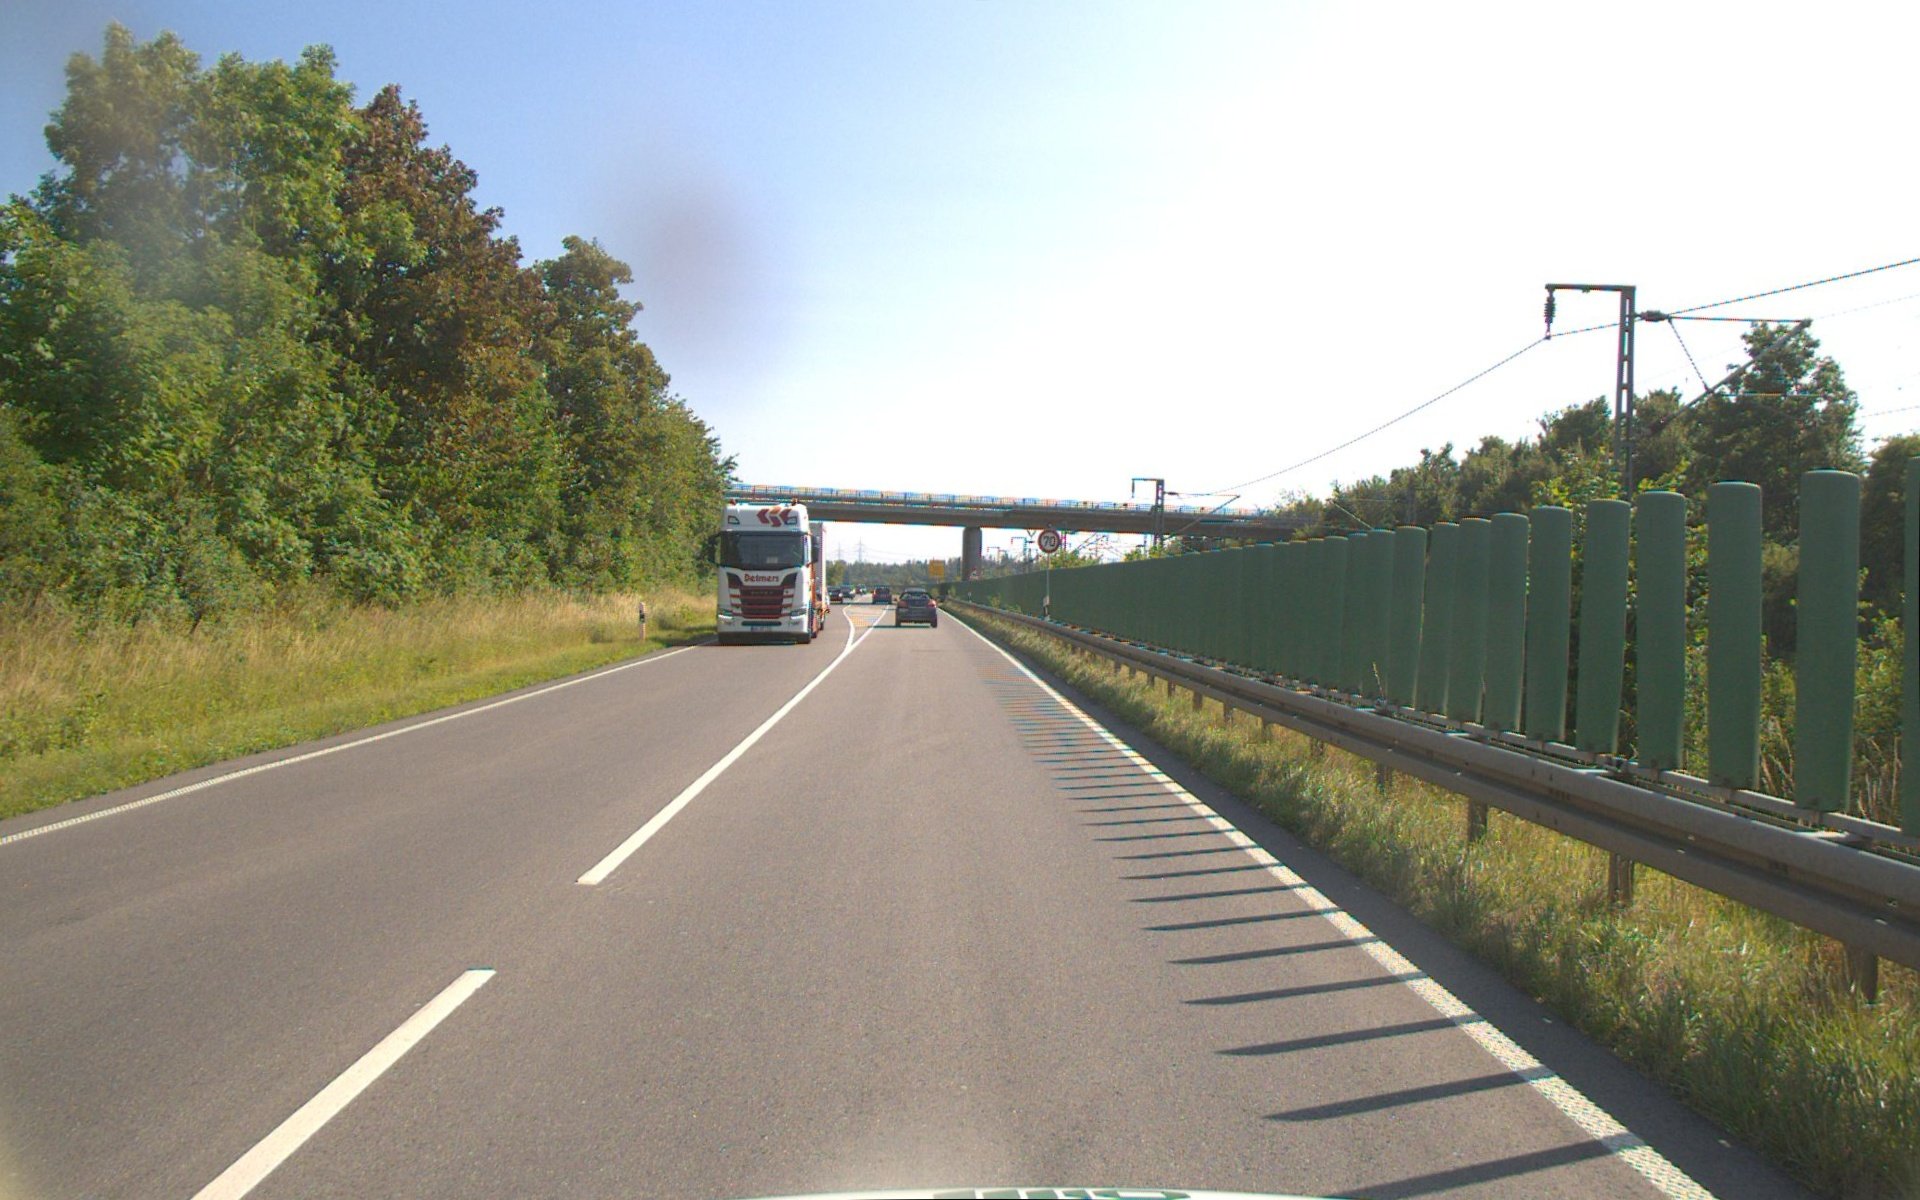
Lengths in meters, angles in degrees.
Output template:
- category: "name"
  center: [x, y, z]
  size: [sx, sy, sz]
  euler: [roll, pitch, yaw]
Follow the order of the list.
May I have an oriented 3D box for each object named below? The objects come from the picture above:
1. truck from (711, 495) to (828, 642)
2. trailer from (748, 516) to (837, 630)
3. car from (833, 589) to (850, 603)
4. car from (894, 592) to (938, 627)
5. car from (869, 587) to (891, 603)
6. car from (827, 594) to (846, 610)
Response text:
- category: "truck"
  center: [-5.349, -0.850, 48.059]
  size: [2.508, 3.753, 10.483]
  euler: [1, 0, -2]
- category: "trailer"
  center: [-5.715, -0.894, 57.459]
  size: [2.508, 3.658, 8.289]
  euler: [1, 0, -2]
- category: "car"
  center: [-13.767, -0.472, 192.267]
  size: [1.884, 1.620, 4.425]
  euler: [1, 0, -5]
- category: "car"
  center: [-1.730, 0.363, 64.447]
  size: [1.630, 1.283, 3.998]
  euler: [1, 0, -2]
- category: "car"
  center: [-7.016, -0.434, 145.275]
  size: [1.857, 1.443, 3.998]
  euler: [1, 0, -2]
- category: "car"
  center: [-11.474, 0.183, 153.282]
  size: [1.715, 1.507, 3.997]
  euler: [1, 0, -4]
